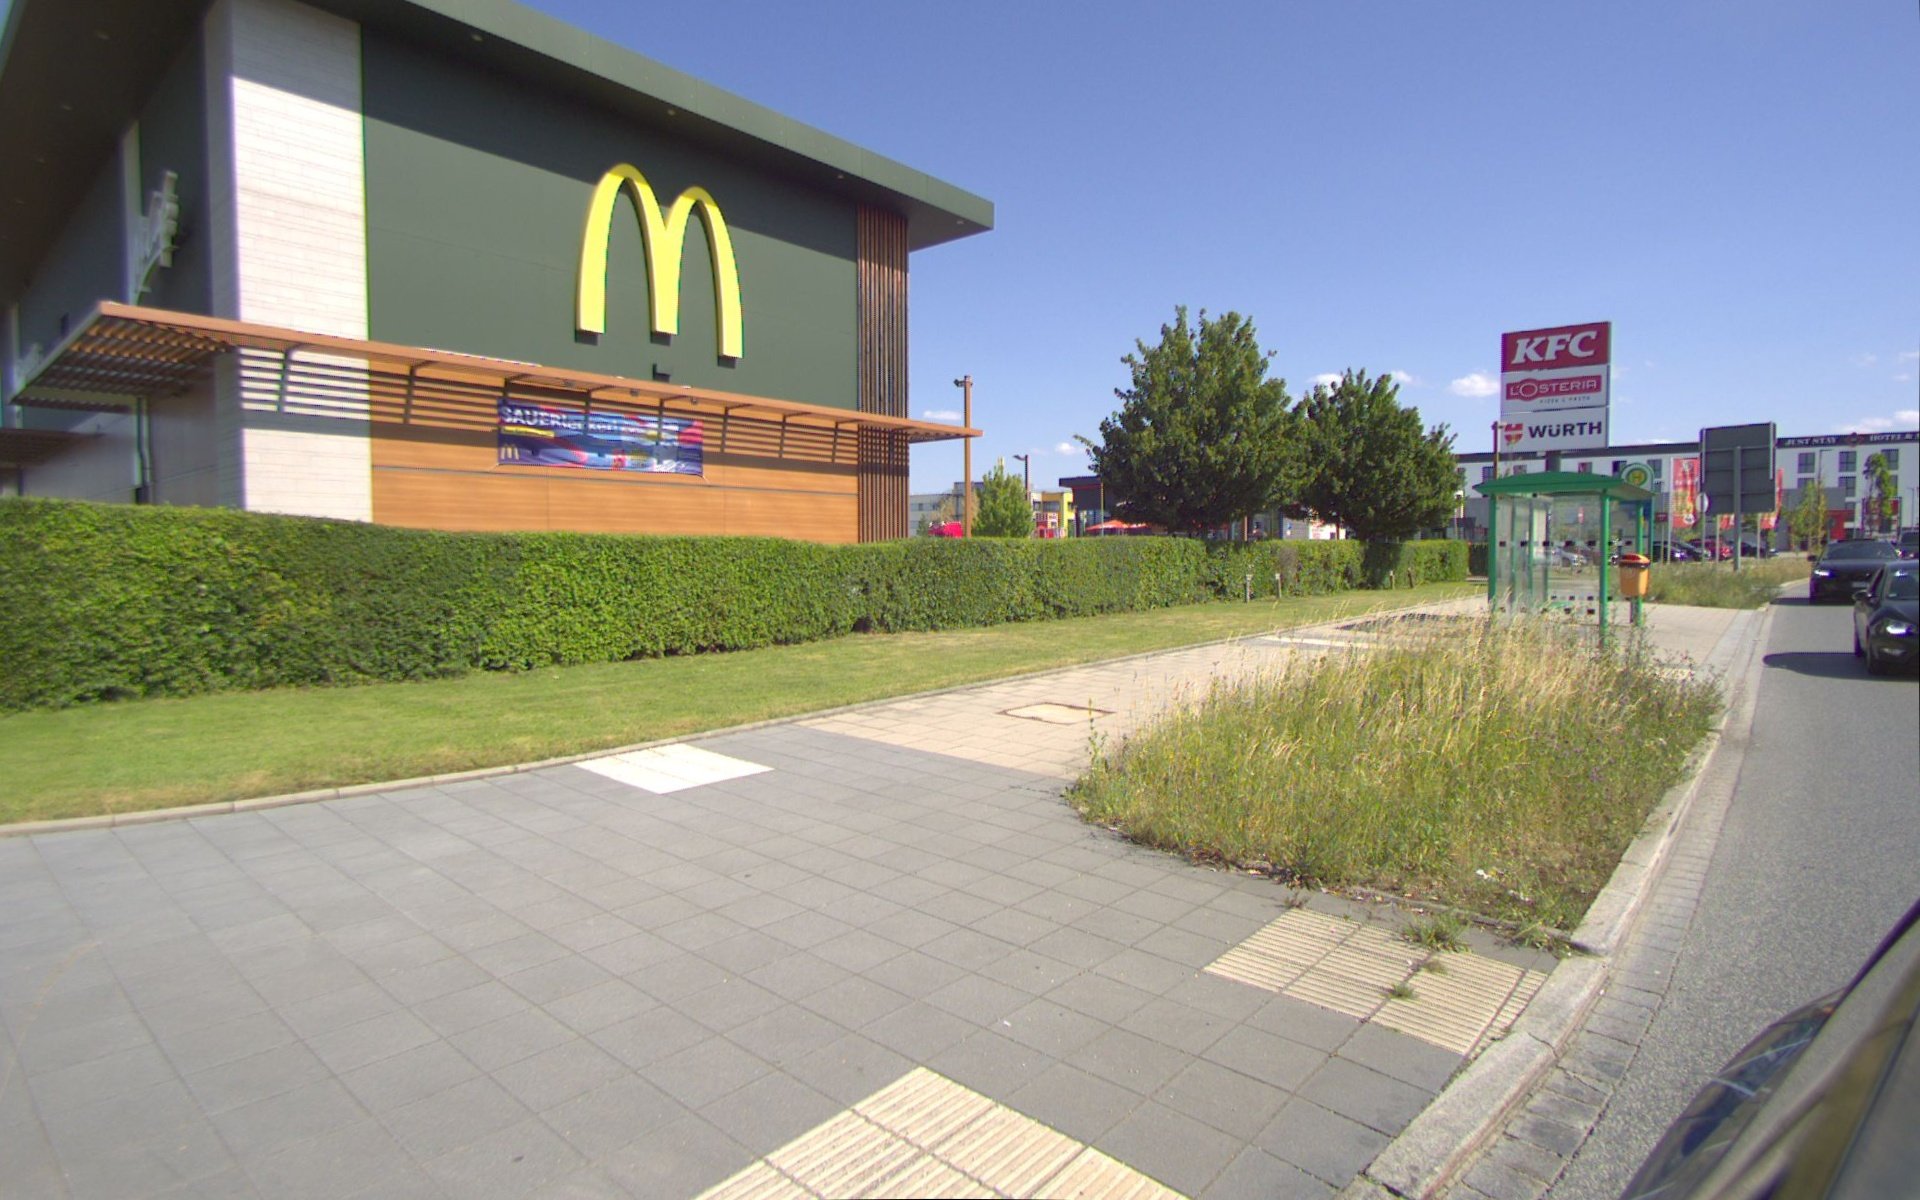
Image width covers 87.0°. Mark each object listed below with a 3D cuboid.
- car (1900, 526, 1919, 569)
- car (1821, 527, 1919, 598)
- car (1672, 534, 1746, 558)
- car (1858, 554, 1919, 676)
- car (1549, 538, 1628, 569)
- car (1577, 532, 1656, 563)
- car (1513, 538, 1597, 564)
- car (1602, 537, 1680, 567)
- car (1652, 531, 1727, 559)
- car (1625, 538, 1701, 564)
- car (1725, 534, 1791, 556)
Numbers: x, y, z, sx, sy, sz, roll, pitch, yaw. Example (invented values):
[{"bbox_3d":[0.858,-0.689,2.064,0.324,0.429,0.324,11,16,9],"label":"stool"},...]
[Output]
[{"bbox_3d":[47.620,-2.562,49.328,4.601,2.073,2.078,-3,4,-40],"label":"car"},{"bbox_3d":[24.230,-1.014,26.882,1.856,1.709,3.939,-2,1,43],"label":"car"},{"bbox_3d":[57.608,-4.151,77.932,1.788,1.783,4.191,-2,3,-31],"label":"car"},{"bbox_3d":[13.327,0.125,13.554,1.857,1.486,3.939,1,3,43],"label":"car"},{"bbox_3d":[42.870,-3.180,69.121,1.896,2.038,4.189,-2,3,-34],"label":"car"},{"bbox_3d":[45.701,-3.642,70.485,1.897,2.038,4.188,-2,3,-35],"label":"car"},{"bbox_3d":[39.030,-3.204,66.475,1.901,1.673,4.436,-3,3,-42],"label":"car"},{"bbox_3d":[48.719,-3.430,72.447,1.897,2.038,4.189,-2,3,-34],"label":"car"},{"bbox_3d":[55.099,-4.123,76.516,1.897,2.038,4.187,-2,3,-36],"label":"car"},{"bbox_3d":[51.020,-3.564,73.551,1.767,1.880,4.192,-2,3,-31],"label":"car"},{"bbox_3d":[63.771,-4.384,80.895,1.724,1.639,3.826,-2,3,-35],"label":"car"}]
